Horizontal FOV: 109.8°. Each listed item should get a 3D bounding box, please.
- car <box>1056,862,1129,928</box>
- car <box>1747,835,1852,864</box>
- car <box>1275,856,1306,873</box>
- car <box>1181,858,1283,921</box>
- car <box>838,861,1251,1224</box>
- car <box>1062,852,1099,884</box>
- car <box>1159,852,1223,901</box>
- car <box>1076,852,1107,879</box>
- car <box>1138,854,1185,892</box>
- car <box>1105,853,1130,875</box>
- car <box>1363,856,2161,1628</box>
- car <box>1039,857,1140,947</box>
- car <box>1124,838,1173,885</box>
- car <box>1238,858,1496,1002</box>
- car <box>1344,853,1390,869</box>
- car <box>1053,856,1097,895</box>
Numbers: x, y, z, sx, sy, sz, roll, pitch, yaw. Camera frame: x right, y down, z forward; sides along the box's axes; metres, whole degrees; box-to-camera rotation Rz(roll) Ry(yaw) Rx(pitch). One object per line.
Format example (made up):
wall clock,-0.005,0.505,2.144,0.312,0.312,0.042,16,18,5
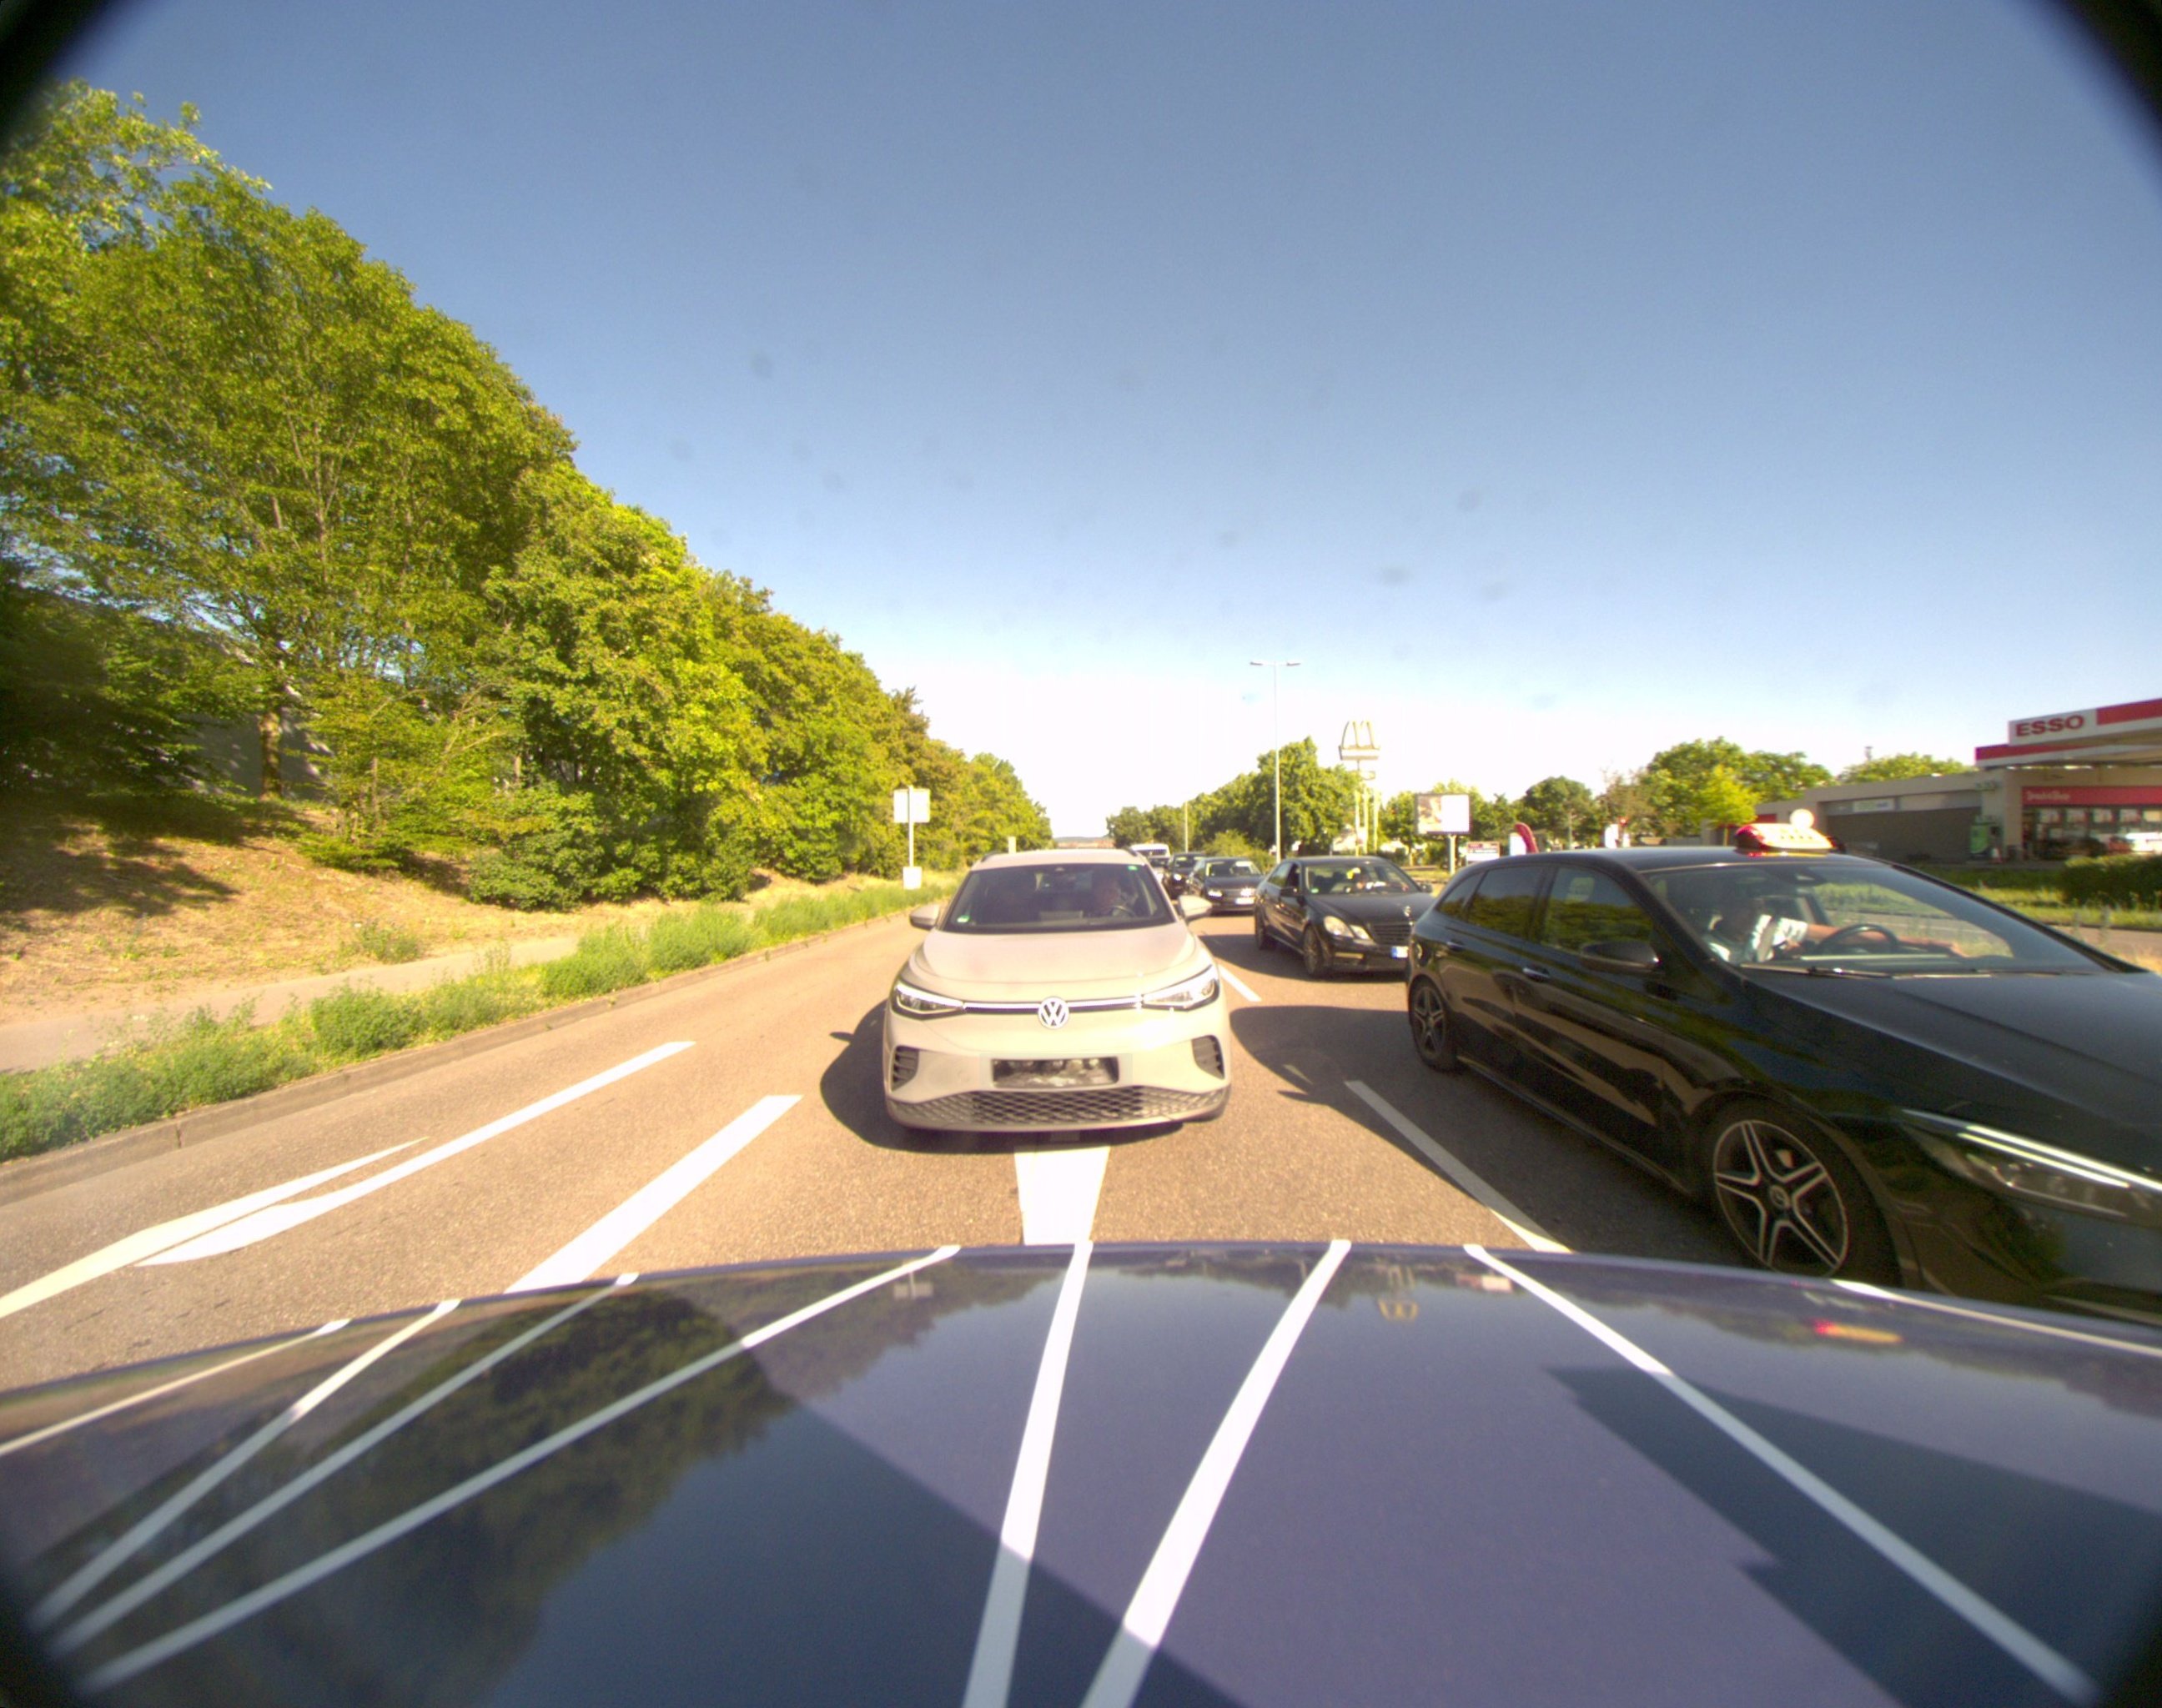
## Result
car,0.271,1.036,20.964,1.763,1.482,4.402,-2,1,0
car,37.447,-0.262,39.752,1.682,1.401,3.978,1,1,0
car,19.261,0.935,69.998,1.763,1.401,3.978,1,1,0
car,3.879,0.858,20.252,1.797,1.419,4.287,-2,0,0
car,-0.175,0.897,5.739,1.862,1.573,4.403,-2,0,0
car,-0.036,0.709,39.891,1.763,1.482,4.402,-2,1,0
car,3.911,0.754,27.512,1.674,1.607,3.879,-2,0,0
car,0.610,0.687,47.058,1.763,1.482,4.402,-2,1,0
car,3.580,0.788,34.201,1.635,1.547,3.777,-2,0,0
car,2.939,0.812,62.151,1.763,1.607,4.402,-2,1,0
car,3.097,0.816,3.689,1.763,1.482,4.402,-2,1,0
car,0.141,0.870,15.796,1.763,1.482,4.402,-2,1,0
car,3.659,0.381,42.140,2.019,2.349,6.523,-2,0,0
car,3.595,0.848,10.536,1.868,1.430,4.402,-2,1,0
car,27.132,0.683,72.114,3.983,1.401,1.761,1,1,-22
car,-0.251,0.878,33.070,1.763,1.482,4.402,-2,1,0
